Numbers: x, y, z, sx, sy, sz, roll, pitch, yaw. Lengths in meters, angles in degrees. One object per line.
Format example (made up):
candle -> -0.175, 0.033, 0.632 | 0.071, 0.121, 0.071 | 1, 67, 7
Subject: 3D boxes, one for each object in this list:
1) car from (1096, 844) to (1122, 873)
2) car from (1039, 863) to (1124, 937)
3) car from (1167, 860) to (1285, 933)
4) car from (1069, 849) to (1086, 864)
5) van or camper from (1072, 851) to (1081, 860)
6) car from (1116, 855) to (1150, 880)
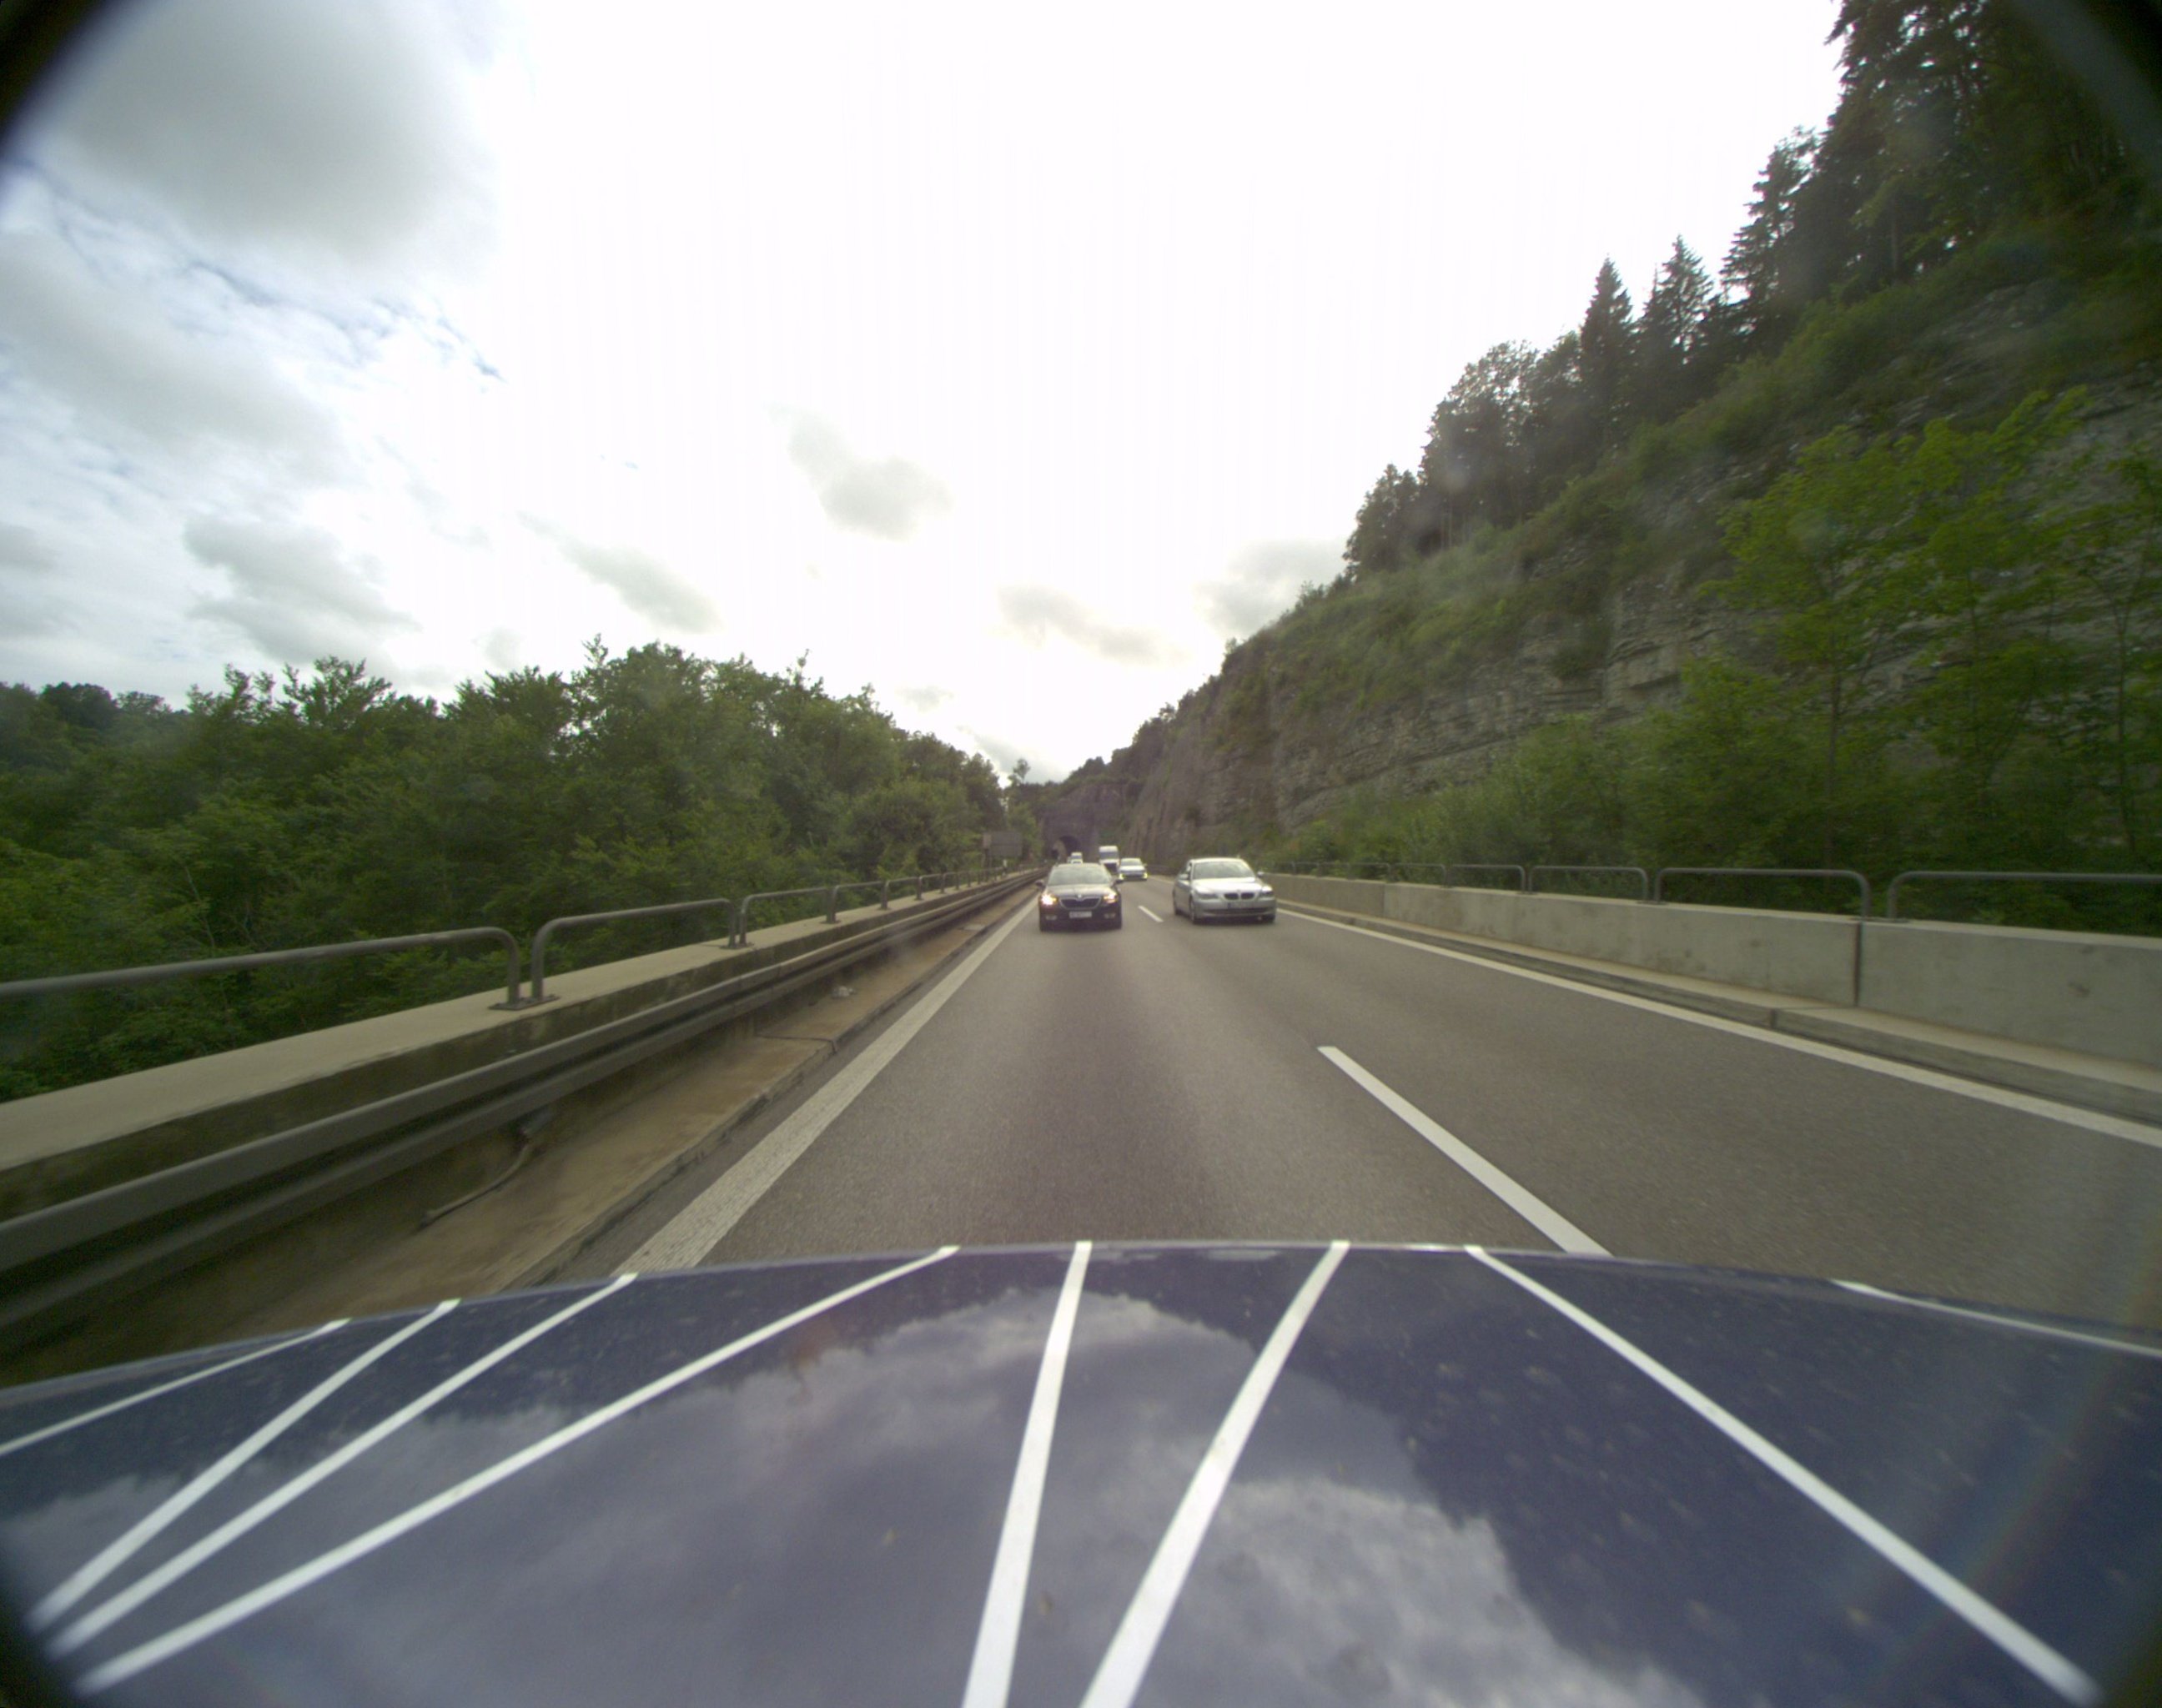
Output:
car -> 2.551, 0.379, 70.144 | 1.869, 2.444, 4.981 | -2, 2, -3
car -> 0.019, 0.959, 17.638 | 1.677, 1.418, 4.473 | -2, 0, 0
car -> 3.297, 0.899, 18.320 | 1.832, 1.448, 5.135 | -2, 0, 0
car -> -0.683, 0.471, 133.622 | 2.674, 2.408, 6.120 | -2, 0, -2
van or camper -> -1.119, 0.393, 180.650 | 1.999, 2.002, 4.000 | -2, 0, -1
car -> 3.371, 0.863, 49.799 | 1.923, 1.452, 4.231 | -2, 0, 1
